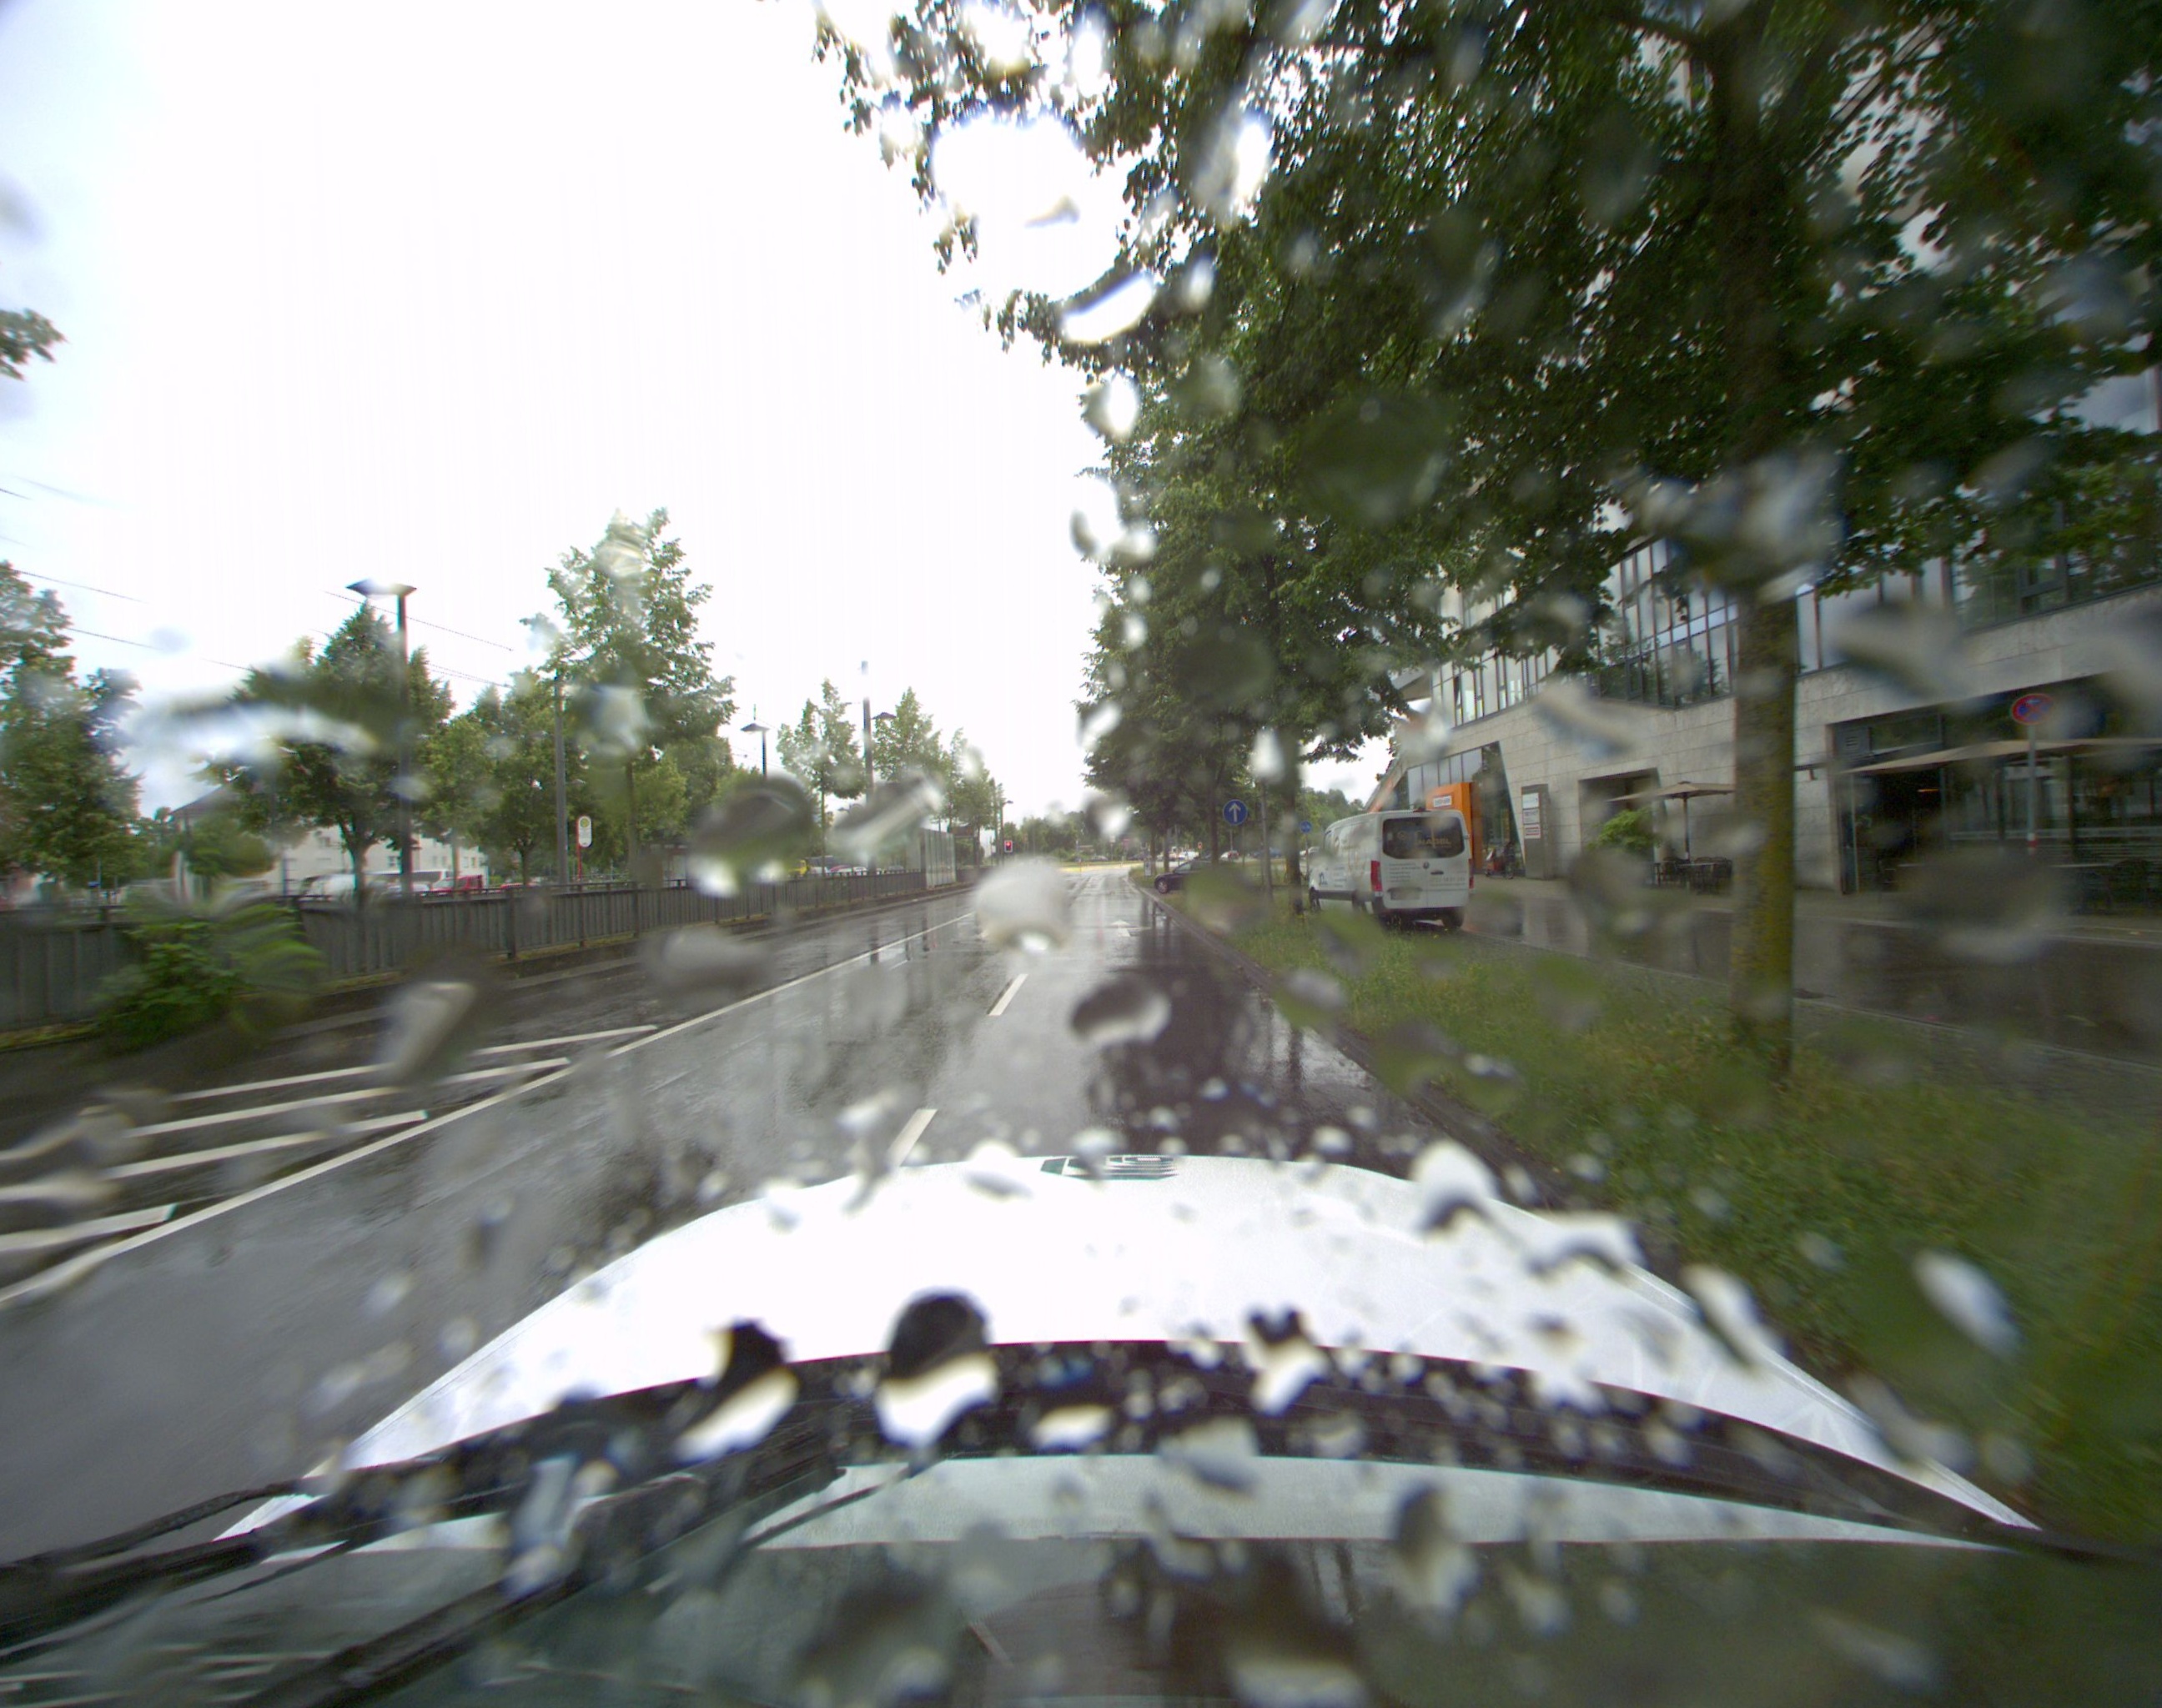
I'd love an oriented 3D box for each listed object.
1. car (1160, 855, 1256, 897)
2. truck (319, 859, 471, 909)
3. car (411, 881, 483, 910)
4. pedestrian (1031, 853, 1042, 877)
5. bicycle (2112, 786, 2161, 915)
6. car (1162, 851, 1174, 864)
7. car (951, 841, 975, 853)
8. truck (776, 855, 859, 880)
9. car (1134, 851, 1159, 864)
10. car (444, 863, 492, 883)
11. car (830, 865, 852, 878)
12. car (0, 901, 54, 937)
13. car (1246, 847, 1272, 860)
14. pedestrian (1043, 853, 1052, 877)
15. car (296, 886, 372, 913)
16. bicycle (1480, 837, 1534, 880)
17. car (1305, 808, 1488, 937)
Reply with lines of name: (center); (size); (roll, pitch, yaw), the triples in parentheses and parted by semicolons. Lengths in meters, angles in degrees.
car: (5.259, 0.883, 34.288); (1.827, 1.545, 3.961); (-4, 2, -31)
truck: (-77.624, 3.315, 92.608); (12.516, 4.592, 3.374); (-4, 2, -26)
car: (-50.121, 3.256, 64.478); (1.978, 2.014, 4.018); (-3, -1, 17)
pedestrian: (-3.776, 0.936, 69.013); (0.695, 2.013, 0.656); (-3, 2, 1)
bicycle: (14.773, -0.025, 9.864); (0.642, 1.722, 3.121); (-3, 2, 1)
car: (13.104, 0.473, 122.245); (1.616, 1.699, 3.461); (-3, 2, 5)
car: (-22.464, -1.372, 155.170); (1.976, 2.013, 5.250); (-3, 2, 22)
truck: (-37.835, 1.839, 117.934); (3.484, 3.147, 14.973); (-3, -1, 17)
car: (10.510, 0.533, 130.460); (3.411, 1.837, 1.727); (-2, 2, 32)
car: (-62.684, 1.892, 83.351); (3.546, 1.738, 1.693); (-4, 2, -23)
car: (-39.184, 2.794, 133.113); (1.640, 1.756, 3.934); (-3, 2, 15)
car: (-70.196, 4.316, 52.799); (1.986, 2.013, 4.002); (-3, 2, 1)
car: (27.330, -0.075, 125.218); (3.411, 1.699, 1.639); (-2, 2, 32)
pedestrian: (-2.871, 0.948, 69.861); (0.695, 2.013, 0.656); (-3, 2, 1)
car: (-63.350, 3.827, 69.147); (1.978, 2.014, 4.234); (-3, -1, 17)
bicycle: (16.325, 0.132, 31.281); (0.663, 1.534, 2.766); (-3, 2, 2)
car: (6.468, 0.352, 17.353); (2.113, 2.274, 4.566); (-3, 0, 1)
